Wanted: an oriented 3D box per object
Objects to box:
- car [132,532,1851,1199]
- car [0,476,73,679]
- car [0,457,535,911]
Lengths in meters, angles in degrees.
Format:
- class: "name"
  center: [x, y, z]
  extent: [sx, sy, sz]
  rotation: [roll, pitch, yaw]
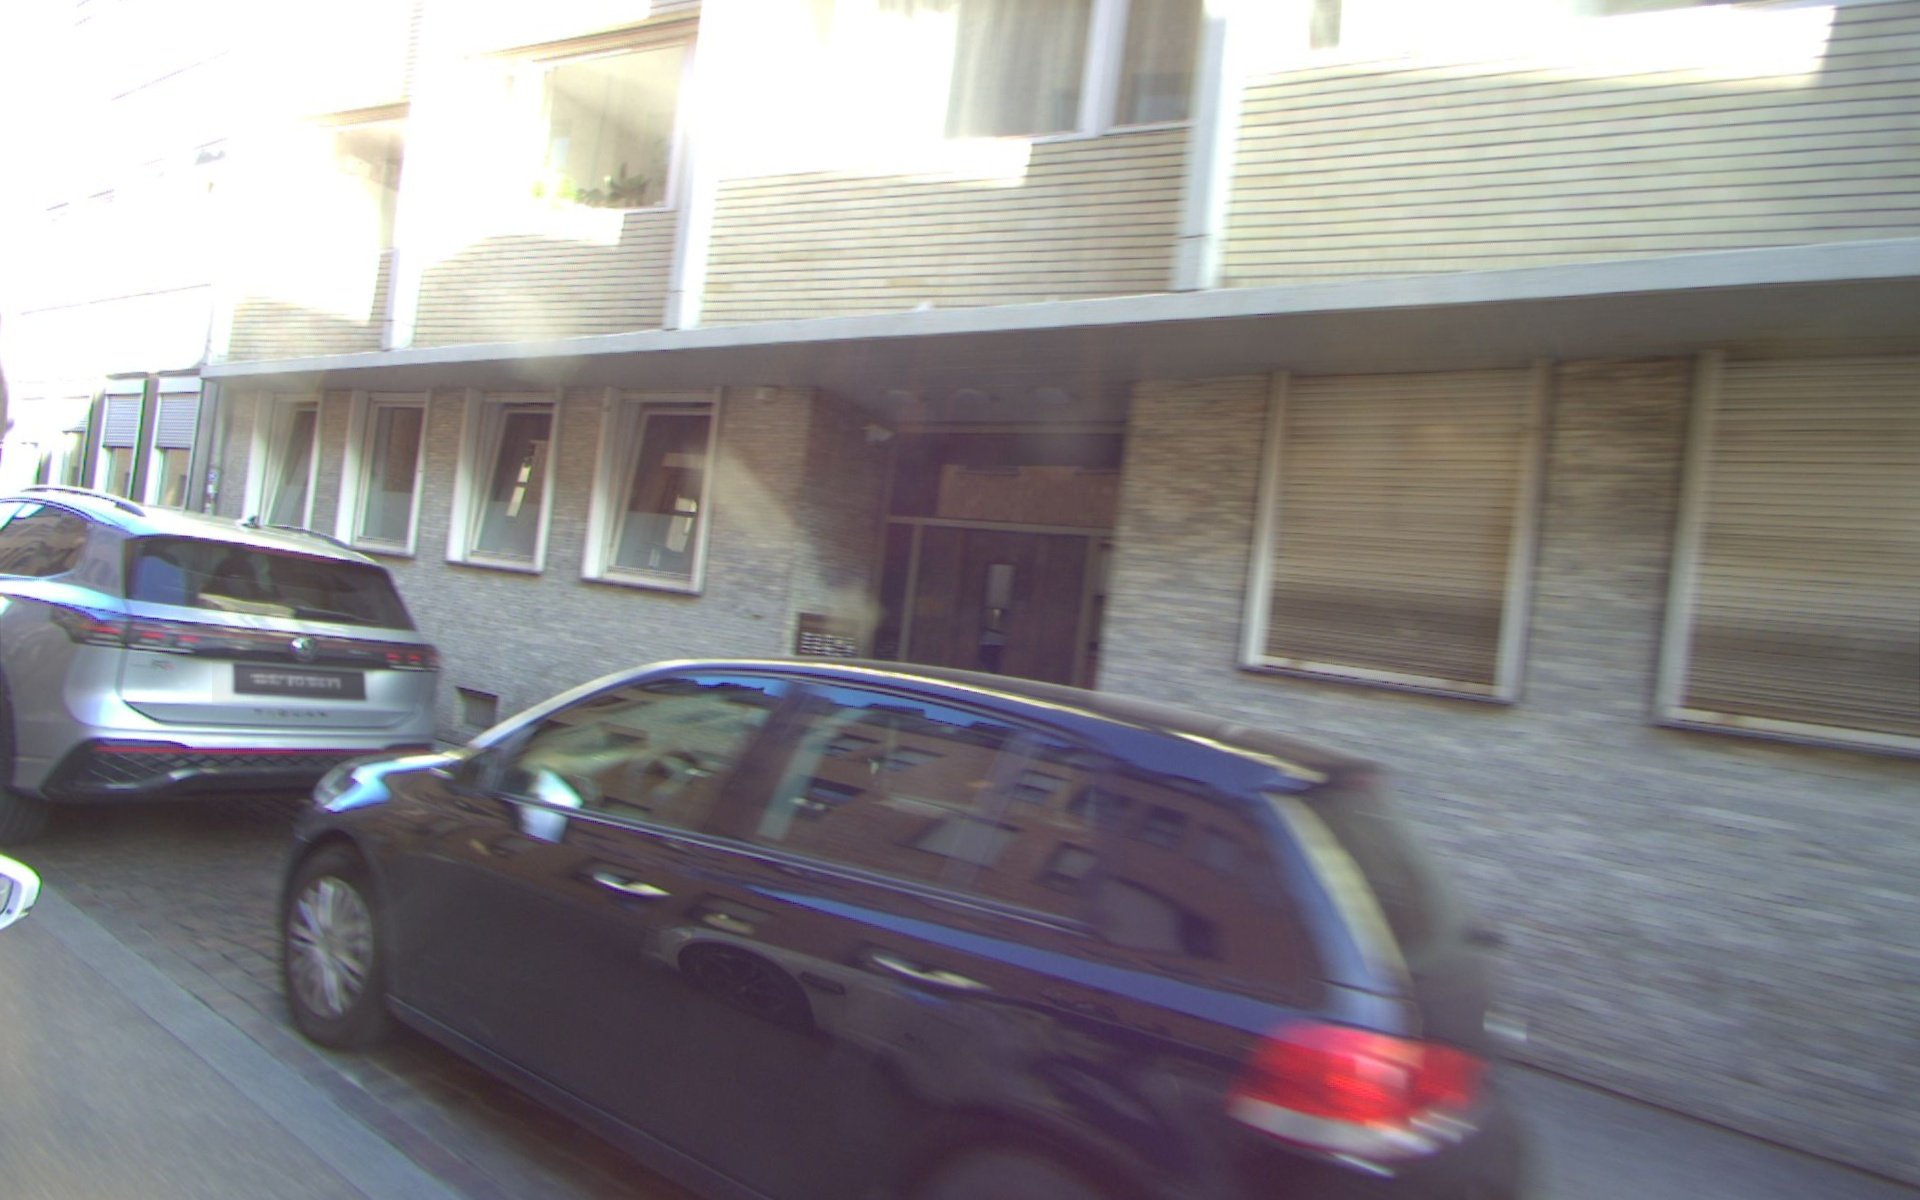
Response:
- class: "car"
  center: [-0.475, 0.859, 3.152]
  extent: [4.525, 1.520, 1.828]
  rotation: [7, -5, 33]
- class: "car"
  center: [-11.058, -0.515, 9.870]
  extent: [4.969, 1.805, 2.108]
  rotation: [6, -3, 33]
- class: "car"
  center: [-4.973, 0.240, 5.941]
  extent: [4.764, 1.720, 1.999]
  rotation: [6, -4, 32]
